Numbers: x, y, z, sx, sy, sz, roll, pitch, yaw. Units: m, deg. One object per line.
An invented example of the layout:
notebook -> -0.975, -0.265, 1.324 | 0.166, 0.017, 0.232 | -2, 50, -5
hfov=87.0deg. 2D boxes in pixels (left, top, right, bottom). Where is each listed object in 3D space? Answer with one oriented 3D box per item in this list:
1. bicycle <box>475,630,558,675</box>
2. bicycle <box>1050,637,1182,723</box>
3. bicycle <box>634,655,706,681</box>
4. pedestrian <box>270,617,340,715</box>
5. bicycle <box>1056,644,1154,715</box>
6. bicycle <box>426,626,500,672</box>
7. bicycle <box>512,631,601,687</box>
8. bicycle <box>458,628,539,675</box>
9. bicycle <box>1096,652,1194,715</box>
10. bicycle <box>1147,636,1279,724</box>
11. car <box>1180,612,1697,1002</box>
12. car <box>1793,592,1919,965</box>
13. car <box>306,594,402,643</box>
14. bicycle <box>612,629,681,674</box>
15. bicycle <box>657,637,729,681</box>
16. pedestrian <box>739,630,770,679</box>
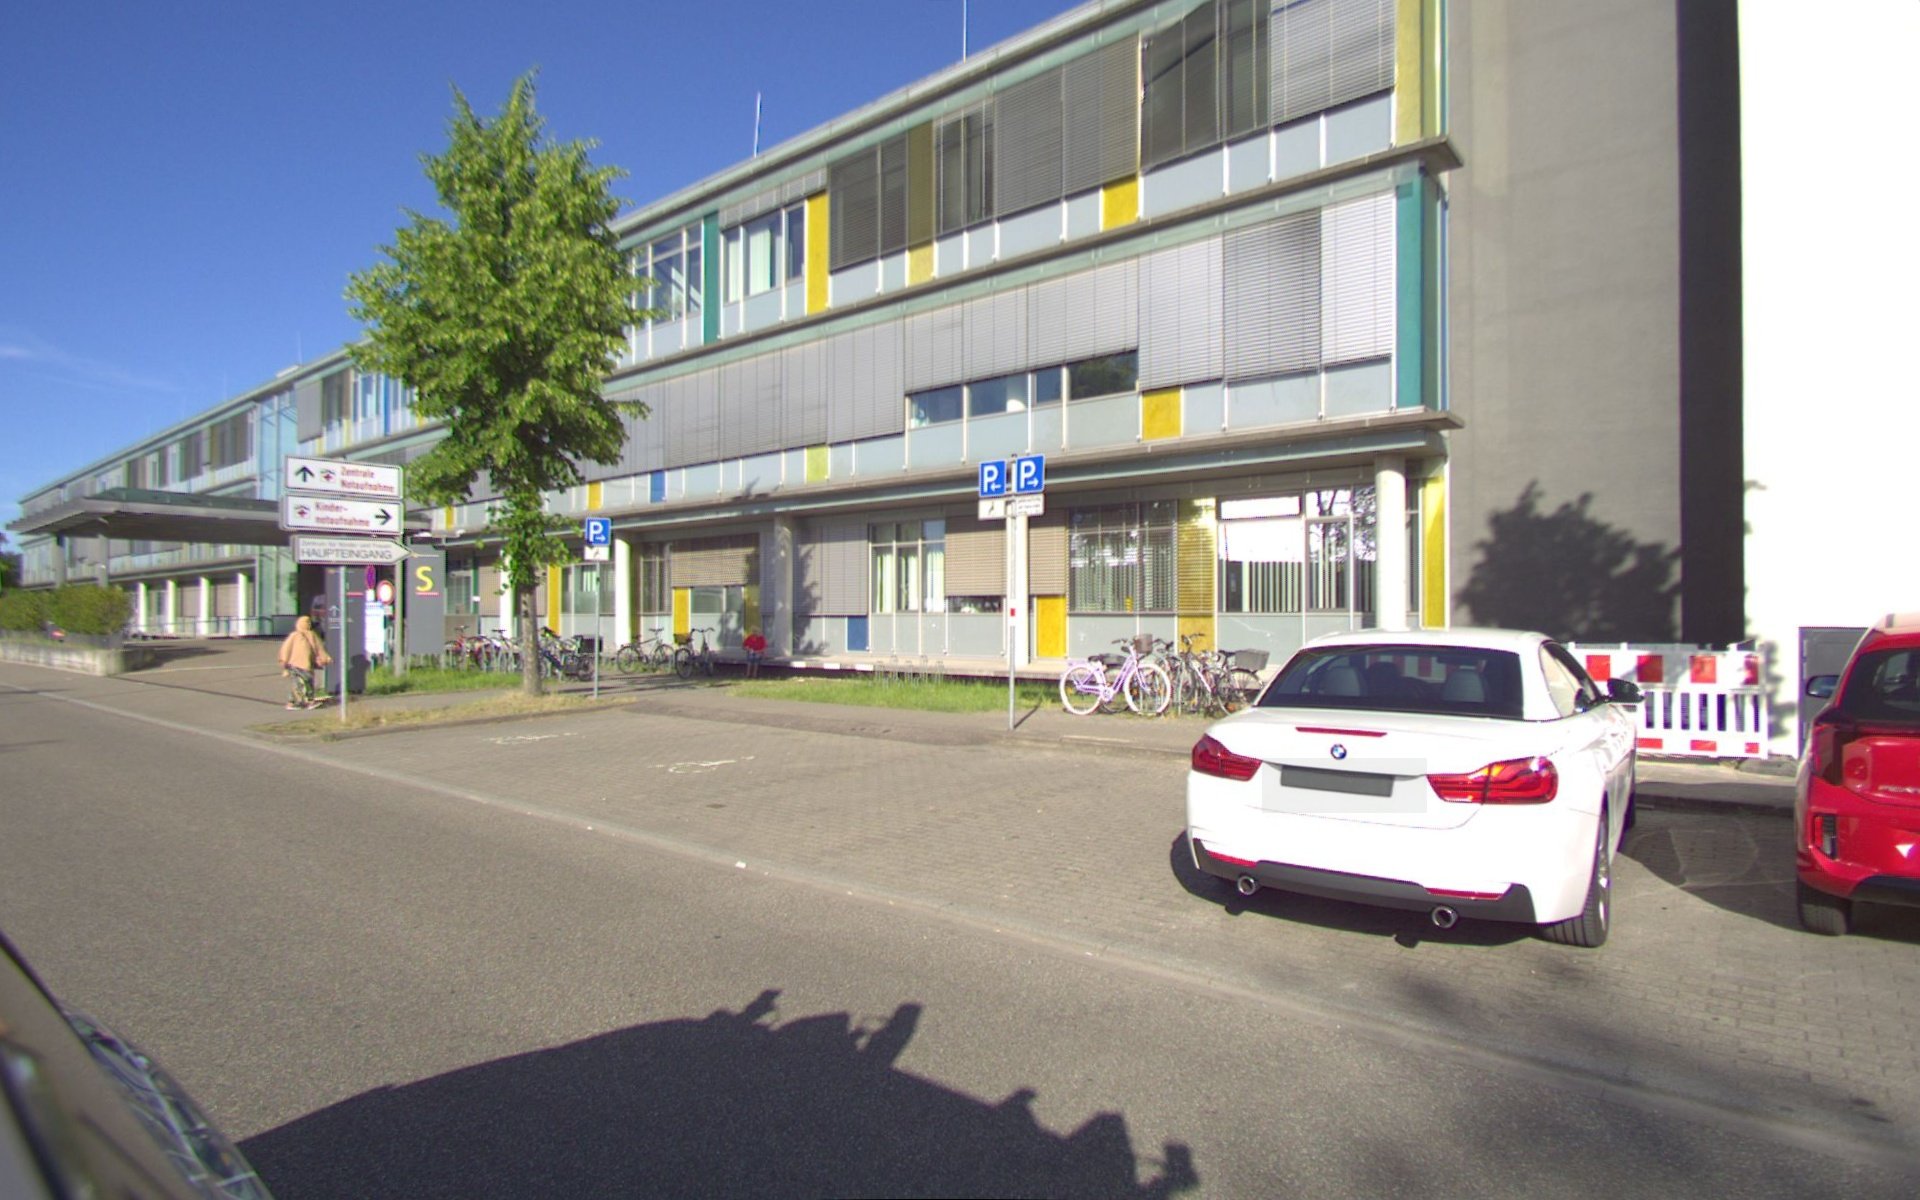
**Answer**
bicycle -> -10.166, 1.195, 23.252 | 0.535, 0.981, 1.698 | -2, -2, 38
bicycle -> 2.160, 1.092, 14.211 | 1.861, 1.120, 0.528 | -2, -2, 44
bicycle -> -7.088, 1.657, 24.813 | 0.535, 0.555, 1.698 | -2, -2, 38
pedestrian -> -10.961, 1.071, 16.943 | 0.779, 1.561, 0.765 | -1, 1, 40
bicycle -> 2.122, 1.151, 14.942 | 1.450, 0.996, 0.391 | -2, -2, 41
bicycle -> -12.740, 1.241, 26.003 | 0.534, 1.132, 1.703 | -1, -2, 30
bicycle -> -8.526, 1.226, 21.437 | 1.683, 1.130, 0.536 | 1, -2, -45
bicycle -> -11.004, 1.206, 24.157 | 0.535, 1.063, 1.698 | -2, -2, 38
bicycle -> 2.734, 1.222, 15.077 | 1.450, 0.870, 0.365 | -2, -2, 41
bicycle -> 3.466, 1.074, 13.964 | 1.763, 1.132, 0.416 | -2, -2, 41
car -> 3.074, 0.792, 5.870 | 1.698, 1.378, 4.467 | -1, -2, 39
car -> 5.466, 0.697, 4.992 | 3.591, 1.480, 1.615 | -1, -1, -43
car -> -24.867, 0.769, 41.476 | 4.707, 1.905, 1.900 | -2, -2, 40
bicycle -> -8.146, 1.313, 26.339 | 0.535, 1.132, 1.698 | -2, -2, 38
bicycle -> -6.401, 1.389, 24.296 | 0.535, 1.001, 1.698 | -2, -2, 38
pedestrian -> -5.033, 1.320, 24.784 | 0.555, 1.182, 0.526 | -2, -2, 41
